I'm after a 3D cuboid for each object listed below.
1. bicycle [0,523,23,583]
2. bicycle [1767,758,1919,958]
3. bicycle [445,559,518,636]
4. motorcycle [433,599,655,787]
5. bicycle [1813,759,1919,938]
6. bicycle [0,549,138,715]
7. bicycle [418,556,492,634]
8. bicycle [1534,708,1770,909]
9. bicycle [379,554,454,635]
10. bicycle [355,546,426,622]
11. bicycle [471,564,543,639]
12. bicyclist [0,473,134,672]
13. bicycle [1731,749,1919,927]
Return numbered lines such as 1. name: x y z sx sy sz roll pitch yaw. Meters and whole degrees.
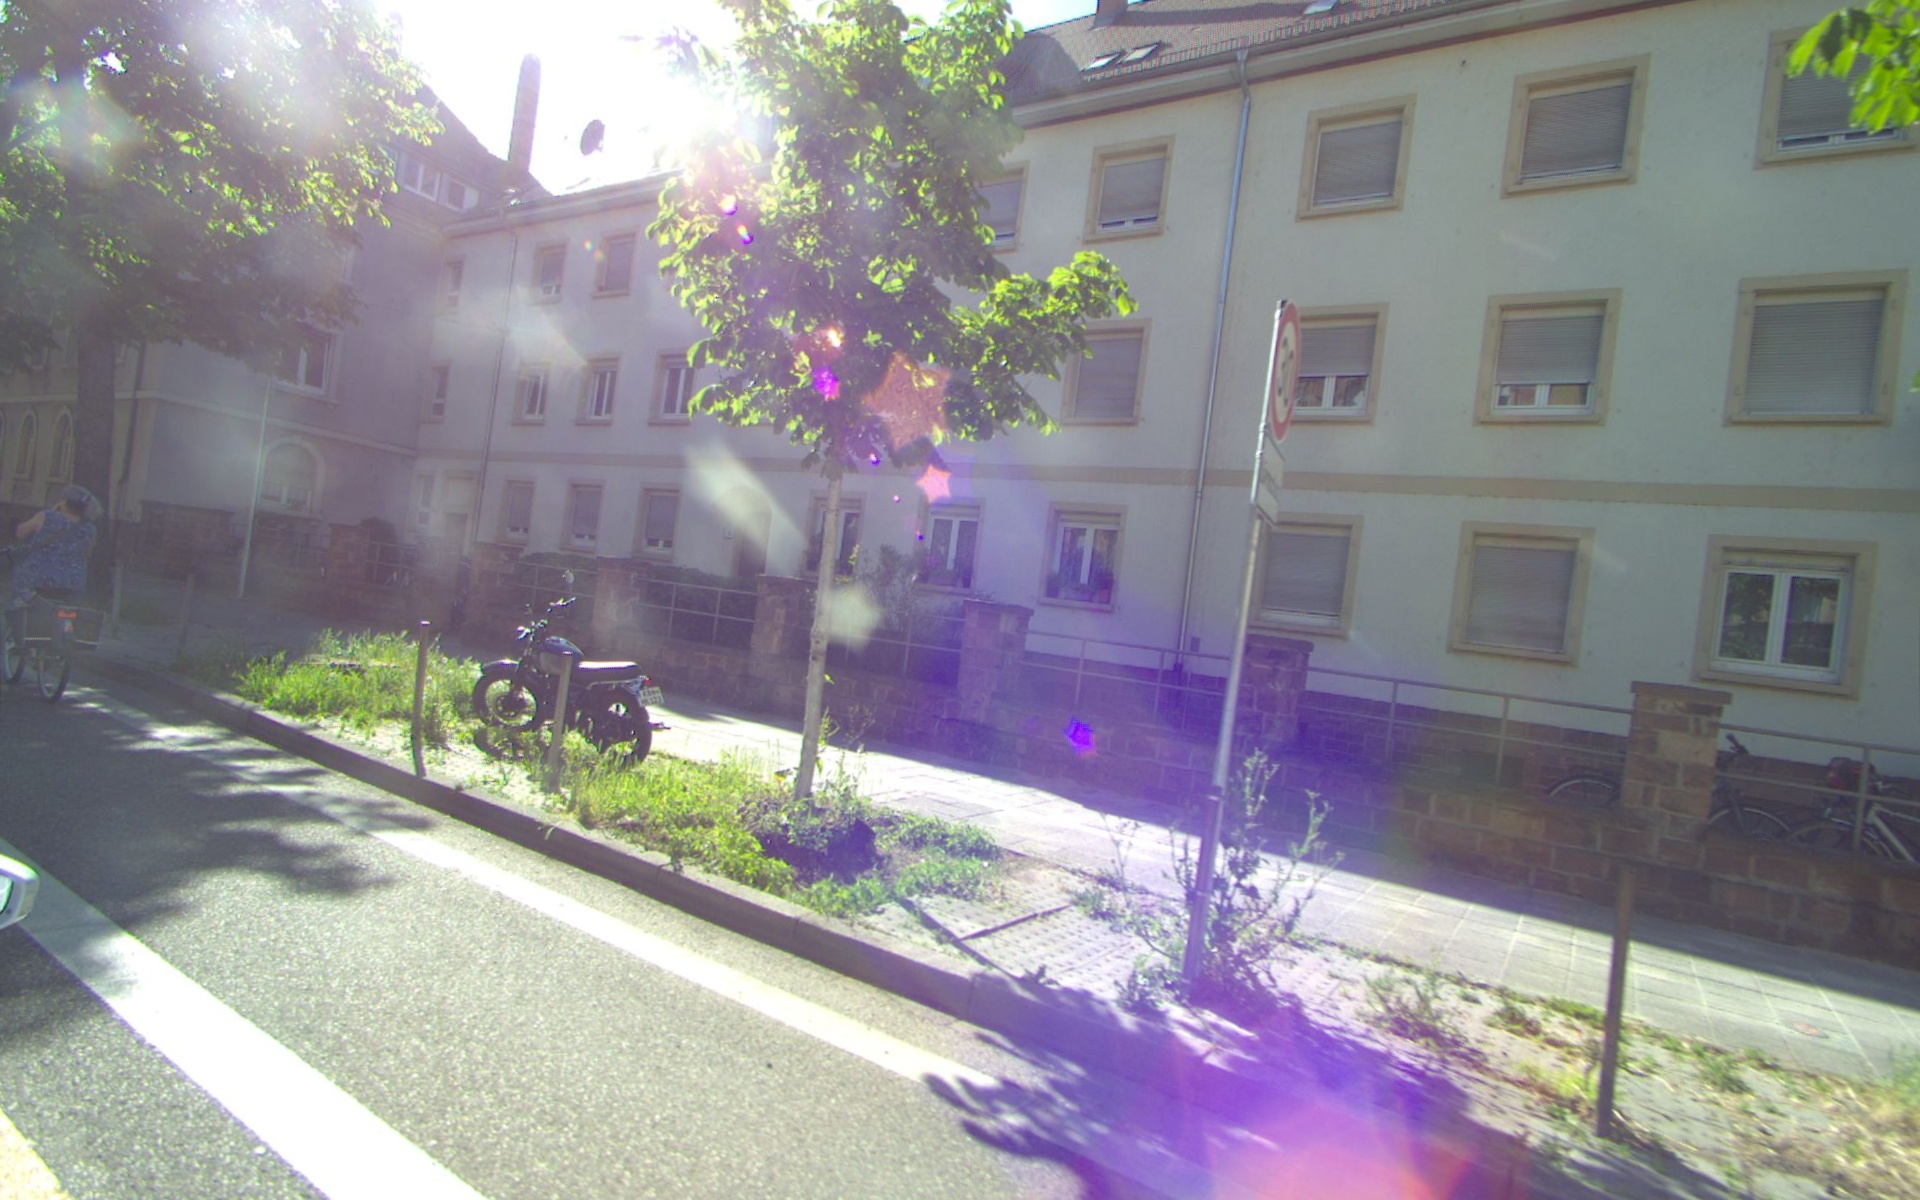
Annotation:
1. bicycle: -17.811 -0.910 17.696 0.610 1.032 1.793 7 1 33
2. bicycle: 6.643 1.808 6.656 1.886 1.166 0.448 7 0 34
3. bicycle: -8.774 -0.047 18.424 1.351 1.237 0.435 7 -1 34
4. motorcycle: -3.370 0.697 8.088 1.829 1.207 0.495 7 4 26
5. bicycle: 7.212 1.867 7.191 1.549 1.166 0.441 7 -2 34
6. bicycle: -7.549 0.218 8.192 1.886 1.125 0.693 7 -2 34
7. bicycle: -9.044 -0.093 18.009 1.351 1.237 0.435 7 -1 34
8. bicycle: 5.484 1.612 8.034 1.404 1.276 0.348 7 -2 38
9. bicycle: -9.412 -0.108 17.409 1.351 1.237 0.435 7 -1 34
10. bicycle: -10.433 -0.299 18.417 1.351 1.237 0.435 7 -1 34
11. bicycle: -8.491 0.018 18.855 1.351 1.237 0.435 7 -1 34
12. bicyclist: -7.289 -0.212 8.128 0.606 1.485 0.636 7 -2 33
13. bicycle: 7.405 1.932 7.992 1.886 1.166 0.545 7 -2 34
